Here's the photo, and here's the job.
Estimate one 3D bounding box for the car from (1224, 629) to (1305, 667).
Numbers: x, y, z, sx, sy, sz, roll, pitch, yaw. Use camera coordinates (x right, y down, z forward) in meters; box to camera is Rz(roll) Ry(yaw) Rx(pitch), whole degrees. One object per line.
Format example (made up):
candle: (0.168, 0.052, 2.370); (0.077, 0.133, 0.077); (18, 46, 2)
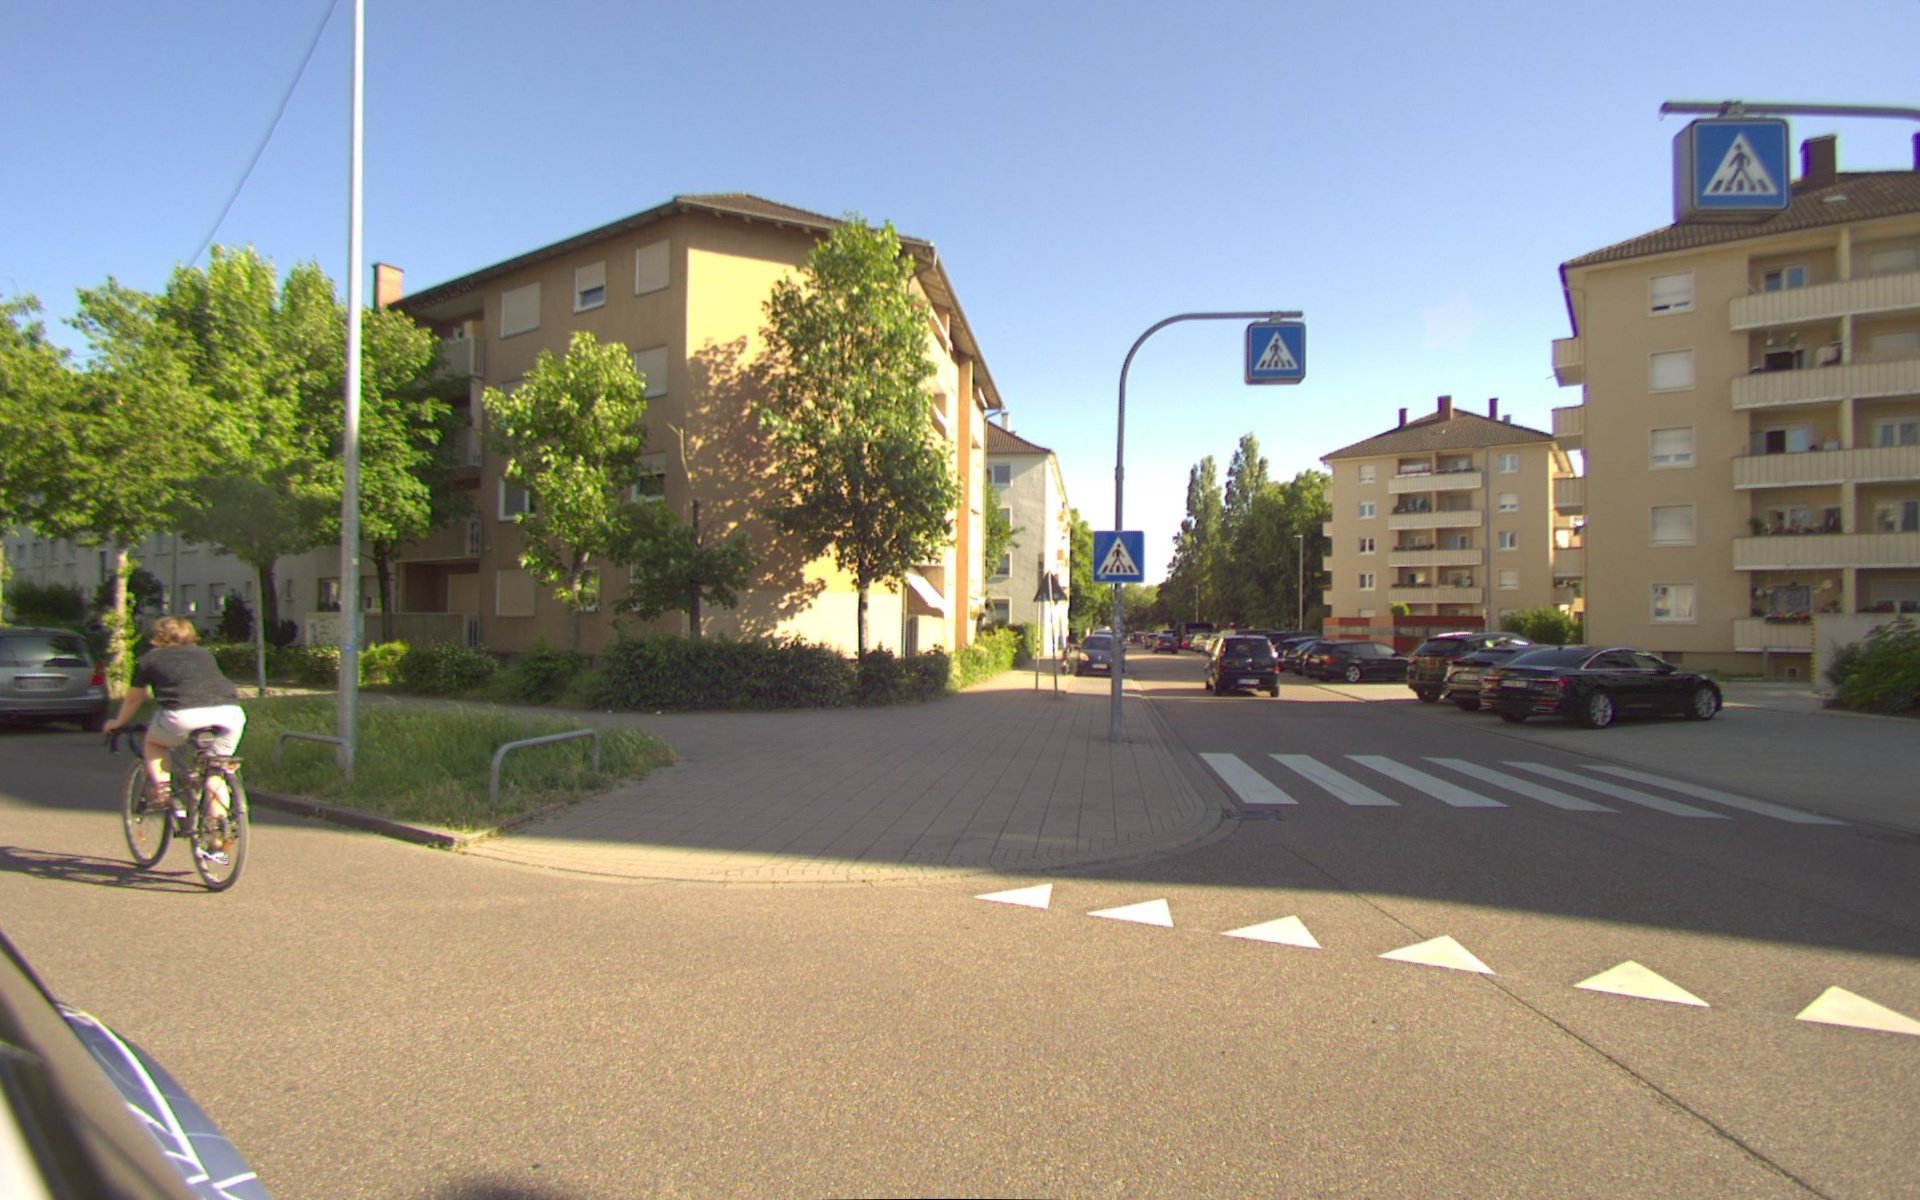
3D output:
car: (17.374, 2.710, 57.769); (3.935, 2.029, 2.004); (0, 0, -10)

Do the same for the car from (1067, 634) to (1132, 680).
car: (5.042, 2.044, 37.050); (1.883, 1.526, 3.998); (1, -2, 1)

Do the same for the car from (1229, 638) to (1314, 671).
car: (16.977, 2.944, 55.206); (3.939, 1.652, 2.002); (0, 0, -5)

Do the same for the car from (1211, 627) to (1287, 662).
car: (17.627, 2.686, 61.771); (3.934, 2.029, 2.005); (0, 0, -12)

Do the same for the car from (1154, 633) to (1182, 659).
car: (16.531, 3.658, 80.417); (1.981, 1.851, 3.981); (0, 0, 14)

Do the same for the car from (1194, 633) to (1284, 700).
car: (7.532, 1.735, 27.672); (1.721, 1.541, 4.106); (0, 0, 6)

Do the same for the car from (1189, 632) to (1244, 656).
car: (20.998, 3.594, 82.983); (3.944, 1.851, 2.000); (0, 0, 1)

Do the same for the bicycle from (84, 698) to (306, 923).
bicycle: (-4.616, 1.170, 6.057); (1.916, 1.019, 0.544); (0, -1, 37)

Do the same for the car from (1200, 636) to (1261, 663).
car: (19.981, 3.631, 74.935); (3.944, 1.851, 2.000); (0, 0, 1)

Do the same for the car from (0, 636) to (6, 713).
car: (-19.638, 1.374, 18.992); (4.080, 1.405, 1.646); (0, 0, 34)

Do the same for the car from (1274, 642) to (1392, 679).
car: (14.864, 2.398, 40.455); (3.934, 1.320, 2.005); (0, 0, -12)

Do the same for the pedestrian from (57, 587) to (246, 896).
pedestrian: (-4.810, 0.754, 6.011); (1.045, 1.652, 0.683); (0, 0, 40)

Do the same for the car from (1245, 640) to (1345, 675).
car: (15.538, 2.644, 46.932); (3.932, 1.264, 2.006); (-2, 1, -18)

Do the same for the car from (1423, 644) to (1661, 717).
car: (12.520, 1.686, 21.809); (4.485, 1.442, 2.006); (1, -3, -20)

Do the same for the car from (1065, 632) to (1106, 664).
car: (6.528, 2.479, 52.801); (1.976, 1.475, 3.992); (-2, -1, 6)

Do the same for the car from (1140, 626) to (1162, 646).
car: (18.764, 3.544, 99.552); (1.977, 1.851, 3.990); (0, 0, 8)

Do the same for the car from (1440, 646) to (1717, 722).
car: (11.478, 1.492, 18.828); (4.485, 1.176, 2.006); (0, -2, -20)

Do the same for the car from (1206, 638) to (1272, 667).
car: (18.878, 3.528, 68.612); (3.944, 1.851, 2.000); (0, 0, 1)

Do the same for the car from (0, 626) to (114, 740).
car: (-14.998, 1.210, 15.748); (4.097, 1.574, 1.706); (0, -3, 34)

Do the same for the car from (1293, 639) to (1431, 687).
car: (13.715, 2.114, 34.599); (3.932, 1.412, 2.006); (0, 0, -16)

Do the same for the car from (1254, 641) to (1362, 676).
car: (15.071, 2.520, 43.881); (3.934, 1.320, 2.005); (0, 0, -12)

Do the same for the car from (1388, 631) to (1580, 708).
car: (12.618, 1.618, 24.405); (3.930, 1.664, 2.006); (0, -2, -23)
